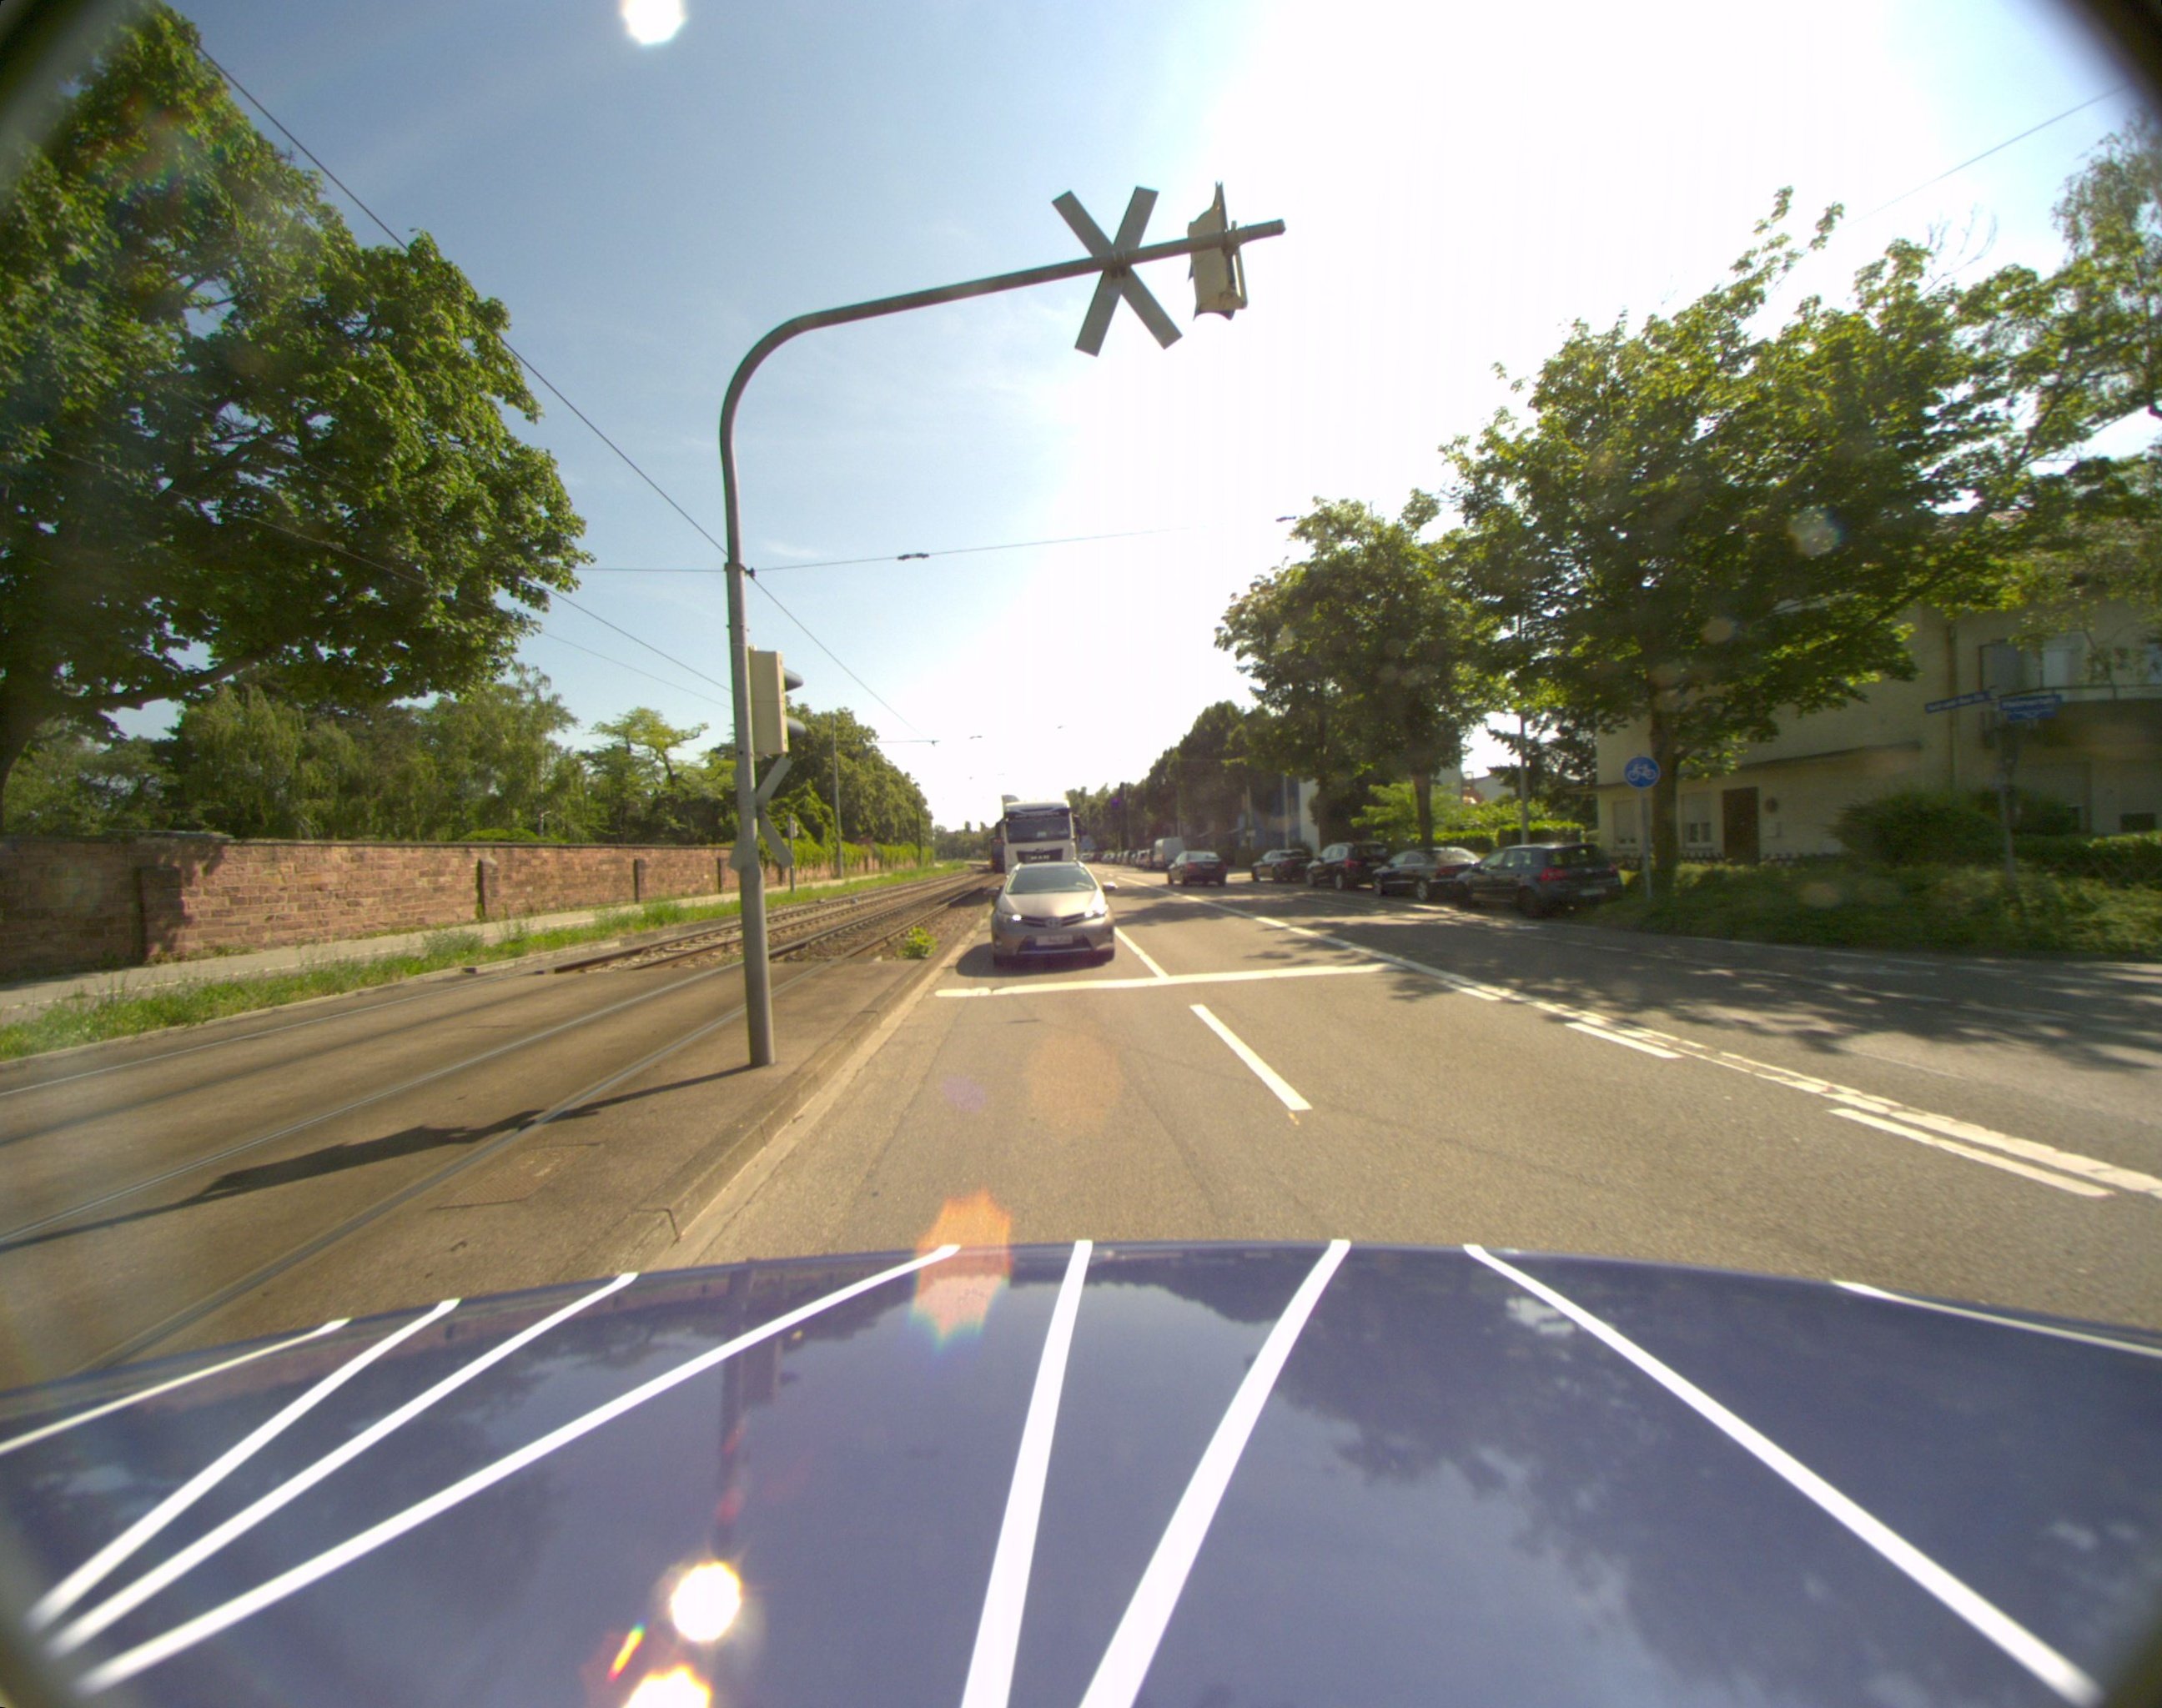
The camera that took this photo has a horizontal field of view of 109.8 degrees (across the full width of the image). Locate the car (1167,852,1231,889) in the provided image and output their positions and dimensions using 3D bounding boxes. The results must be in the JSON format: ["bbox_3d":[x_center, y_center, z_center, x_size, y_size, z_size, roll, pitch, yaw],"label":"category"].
[{"bbox_3d":[4.800,0.609,31.394,1.790,1.401,4.303,-1,0,-3],"label":"car"}]

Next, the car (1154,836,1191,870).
[{"bbox_3d":[7.695,-0.083,64.572,2.017,2.636,6.084,-5,0,-2],"label":"car"}]

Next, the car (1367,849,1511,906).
[{"bbox_3d":[9.809,0.573,21.275,1.701,1.387,4.579,-2,0,-2],"label":"car"}]

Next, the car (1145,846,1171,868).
[{"bbox_3d":[7.295,0.270,72.747,1.679,1.925,4.456,-5,1,-2],"label":"car"}]

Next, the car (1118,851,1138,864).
[{"bbox_3d":[5.817,0.400,94.718,1.680,1.493,3.764,-5,1,-6],"label":"car"}]

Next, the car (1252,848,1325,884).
[{"bbox_3d":[9.099,0.482,33.626,1.679,1.427,4.455,-2,0,-4],"label":"car"}]

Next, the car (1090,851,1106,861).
[{"bbox_3d":[2.589,0.326,117.789,1.680,1.493,3.763,-5,1,-9],"label":"car"}]

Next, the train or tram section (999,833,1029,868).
[{"bbox_3d":[-8.051,-0.505,93.549,2.680,3.631,18.950,-4,1,-3],"label":"train or tram section"}]

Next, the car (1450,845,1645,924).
[{"bbox_3d":[9.809,0.569,16.401,1.620,1.442,4.082,-2,0,-1],"label":"car"}]

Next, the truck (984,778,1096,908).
[{"bbox_3d":[-1.658,-0.433,32.037,3.392,4.046,14.281,-4,1,-3],"label":"truck"}]

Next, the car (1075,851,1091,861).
[{"bbox_3d":[0.339,0.302,130.613,1.680,1.493,3.762,-6,1,-13],"label":"car"}]

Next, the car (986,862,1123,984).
[{"bbox_3d":[-0.438,0.923,11.990,1.720,1.439,4.029,-3,0,-3],"label":"car"}]

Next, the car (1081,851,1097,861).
[{"bbox_3d":[1.364,0.301,125.900,1.680,1.493,3.762,-6,1,-13],"label":"car"}]

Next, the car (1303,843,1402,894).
[{"bbox_3d":[9.477,0.459,26.893,1.679,1.603,4.240,-2,0,-4],"label":"car"}]

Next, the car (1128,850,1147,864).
[{"bbox_3d":[6.532,0.304,88.637,1.679,1.493,3.765,-5,1,-2],"label":"car"}]

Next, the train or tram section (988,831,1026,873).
[{"bbox_3d":[-7.278,-0.305,76.454,2.677,3.631,15.299,-4,1,-2],"label":"train or tram section"}]

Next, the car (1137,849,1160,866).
[{"bbox_3d":[6.904,0.343,78.523,1.679,1.659,4.146,-5,1,-2],"label":"car"}]
